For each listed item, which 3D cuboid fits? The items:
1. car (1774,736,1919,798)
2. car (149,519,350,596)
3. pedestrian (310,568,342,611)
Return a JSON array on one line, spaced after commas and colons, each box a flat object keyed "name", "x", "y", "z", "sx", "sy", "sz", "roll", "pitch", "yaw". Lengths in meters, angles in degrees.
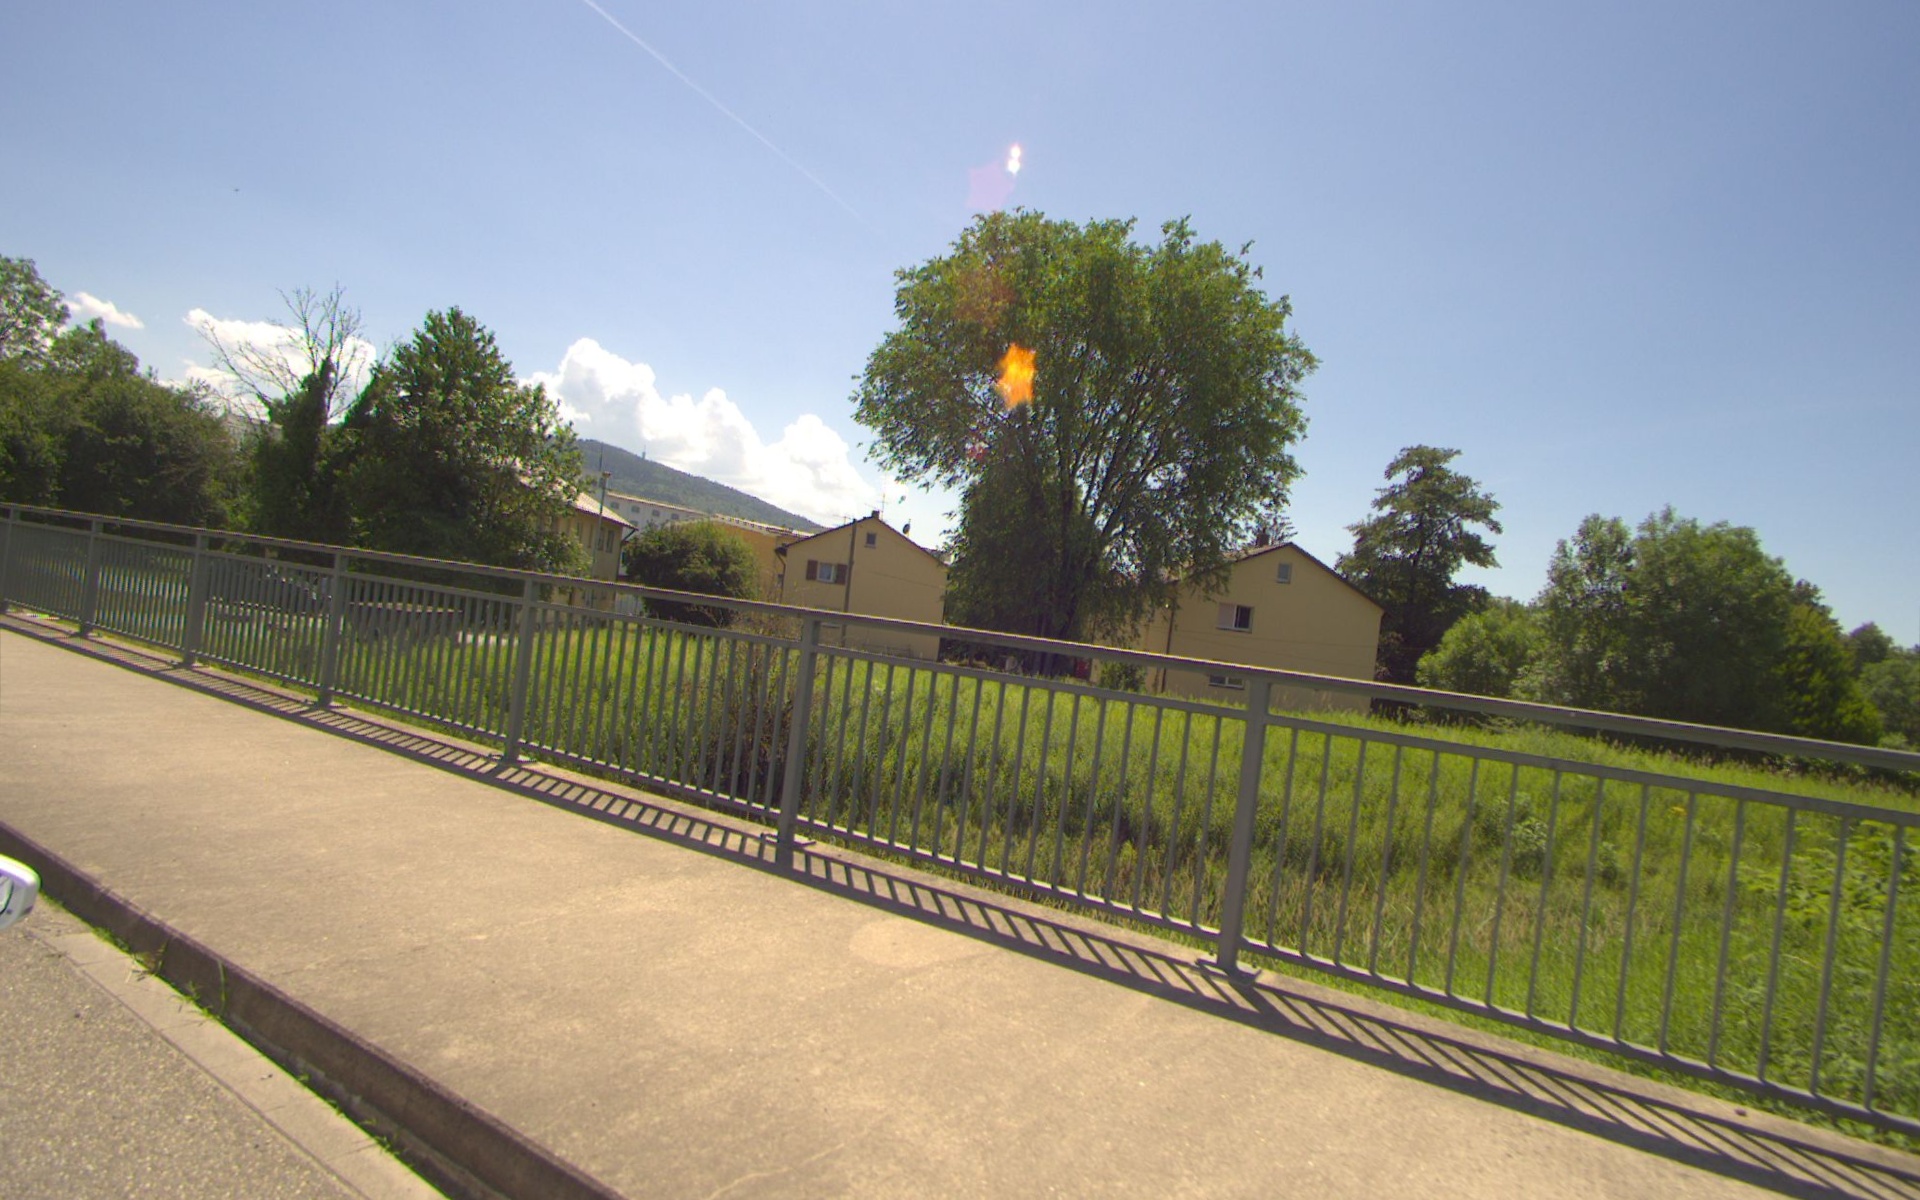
[{"name": "car", "x": 35.825, "y": 6.718, "z": 40.602, "sx": 4.434, "sy": 1.643, "sz": 1.998, "roll": 8, "pitch": 0, "yaw": -7}, {"name": "car", "x": -21.540, "y": -1.243, "z": 30.664, "sx": 4.434, "sy": 1.643, "sz": 1.998, "roll": 8, "pitch": 0, "yaw": -7}, {"name": "pedestrian", "x": -22.743, "y": -0.386, "z": 36.084, "sx": 0.838, "sy": 1.411, "sz": 0.679, "roll": 10, "pitch": 4, "yaw": 43}]
